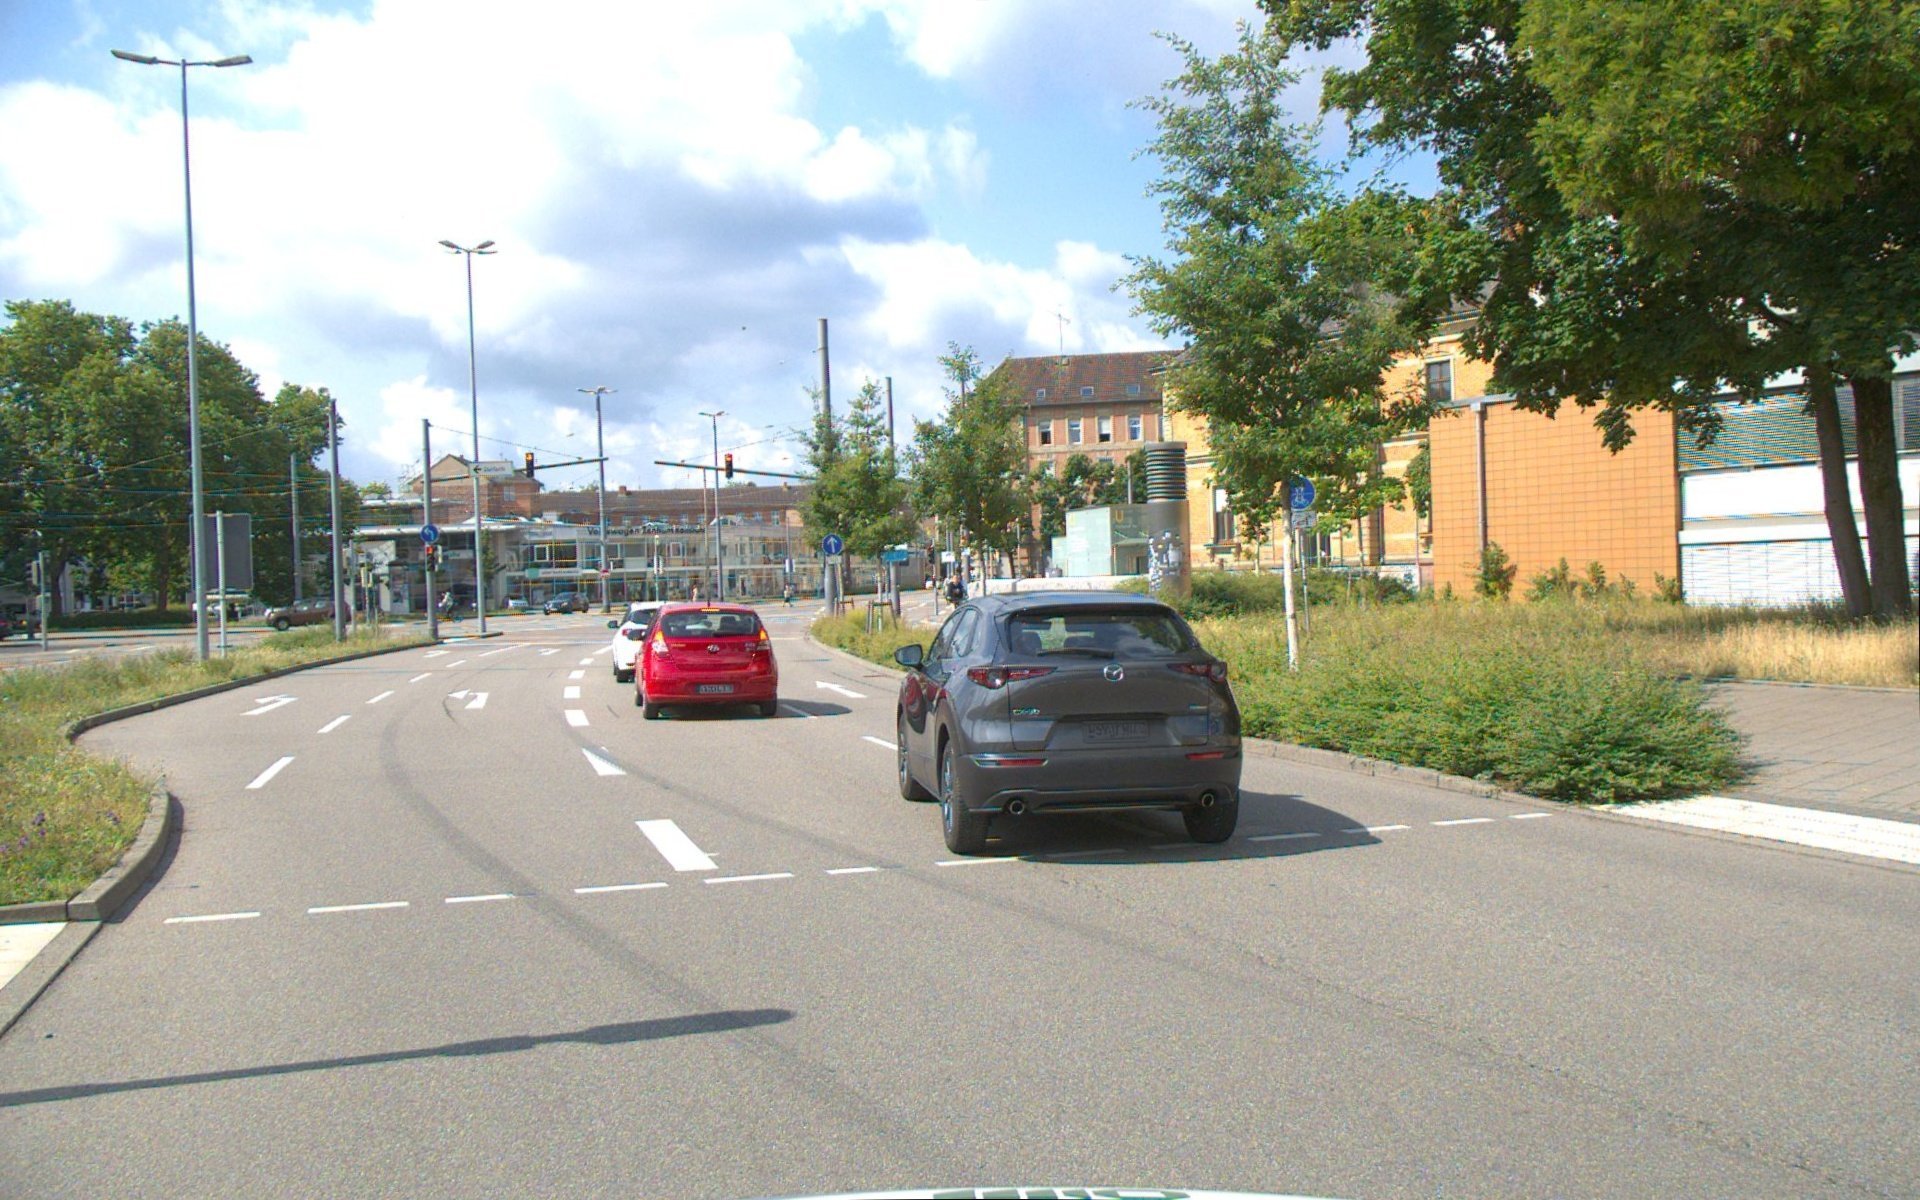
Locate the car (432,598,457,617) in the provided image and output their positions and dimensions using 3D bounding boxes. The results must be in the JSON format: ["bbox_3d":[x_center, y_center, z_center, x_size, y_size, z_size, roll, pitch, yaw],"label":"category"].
[{"bbox_3d":[-45.196,0.617,145.133,1.962,1.579,4.059,-2,1,-17],"label":"car"}]

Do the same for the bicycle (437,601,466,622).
[{"bbox_3d":[-29.331,0.657,95.386,1.450,1.136,0.581,-2,0,-31],"label":"bicycle"}]

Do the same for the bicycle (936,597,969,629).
[{"bbox_3d":[-0.219,0.349,46.385,0.613,0.825,1.785,-3,1,-8],"label":"bicycle"}]

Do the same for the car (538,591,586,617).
[{"bbox_3d":[-26.885,0.256,111.836,1.951,1.556,4.003,-2,1,5],"label":"car"}]

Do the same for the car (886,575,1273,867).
[{"bbox_3d":[0.576,0.665,11.130,1.772,1.534,4.198,-1,0,-7],"label":"car"}]

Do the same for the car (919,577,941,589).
[{"bbox_3d":[-3.763,-2.111,206.651,1.951,1.467,4.004,-2,1,11],"label":"car"}]

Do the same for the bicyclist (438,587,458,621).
[{"bbox_3d":[-29.491,0.247,95.304,0.877,1.903,0.756,-2,0,-31],"label":"bicyclist"}]

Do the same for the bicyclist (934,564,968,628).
[{"bbox_3d":[-0.249,-0.116,46.357,0.722,1.731,0.963,-4,1,-9],"label":"bicyclist"}]

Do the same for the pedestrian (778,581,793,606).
[{"bbox_3d":[-11.423,-0.420,108.429,0.662,1.562,0.672,-2,1,40],"label":"pedestrian"}]

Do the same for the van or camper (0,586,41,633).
[{"bbox_3d":[-62.882,0.644,110.098,2.557,2.959,6.031,-2,1,-32],"label":"van or camper"}]

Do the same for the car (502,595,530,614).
[{"bbox_3d":[-39.684,0.382,147.852,1.965,1.624,3.975,-2,1,-21],"label":"car"}]

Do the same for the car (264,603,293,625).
[{"bbox_3d":[-59.509,1.235,144.418,1.768,1.800,3.983,-2,1,-16],"label":"car"}]

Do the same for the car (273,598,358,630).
[{"bbox_3d":[-33.958,0.729,87.190,4.018,1.534,1.799,-2,1,-26],"label":"car"}]

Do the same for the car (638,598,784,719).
[{"bbox_3d":[-3.441,0.722,22.667,1.783,1.464,4.058,-1,0,-10],"label":"car"}]

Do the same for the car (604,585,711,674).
[{"bbox_3d":[-5.818,0.511,31.533,1.816,1.498,4.322,-3,1,-12],"label":"car"}]

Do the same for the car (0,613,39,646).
[{"bbox_3d":[-47.280,1.454,80.680,4.017,1.534,1.799,-1,0,-26],"label":"car"}]
